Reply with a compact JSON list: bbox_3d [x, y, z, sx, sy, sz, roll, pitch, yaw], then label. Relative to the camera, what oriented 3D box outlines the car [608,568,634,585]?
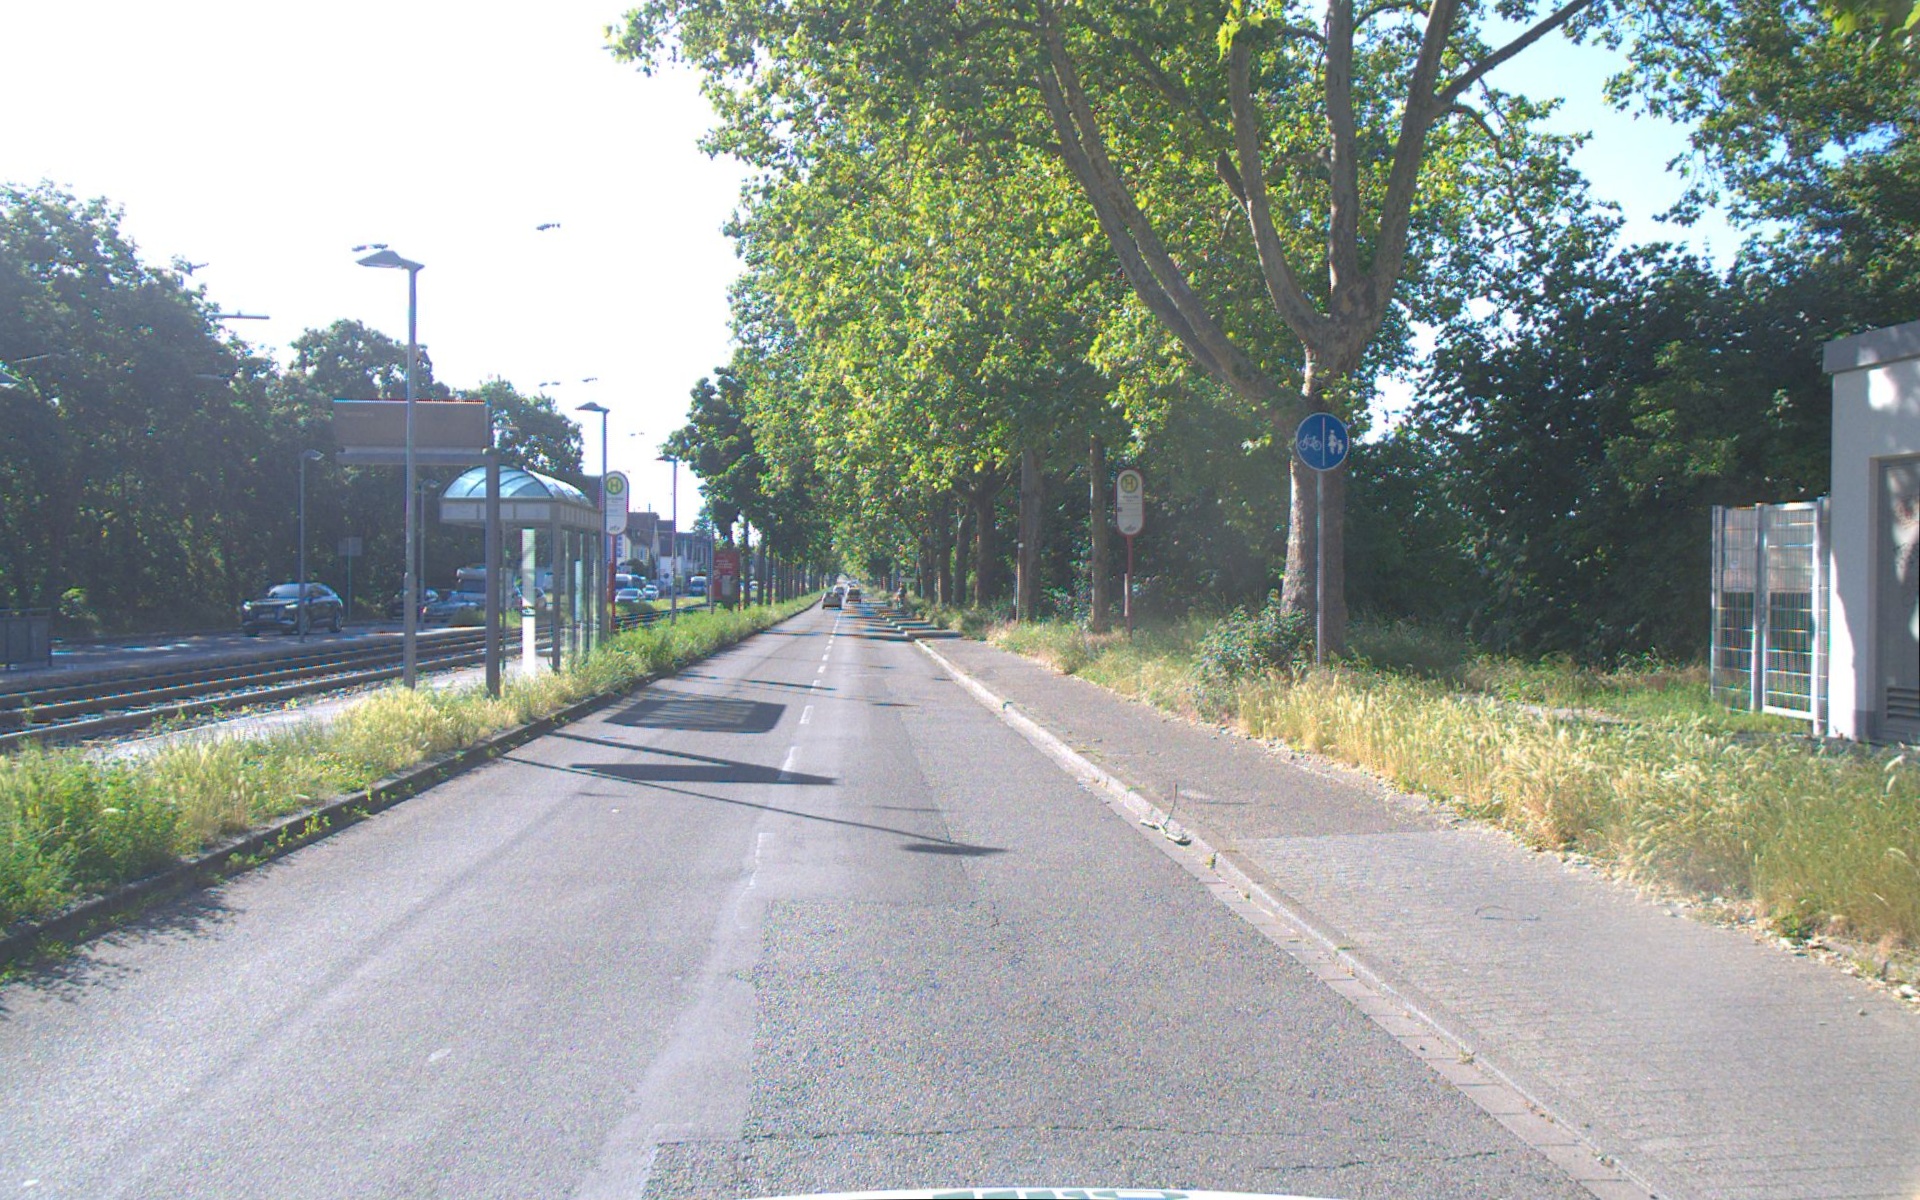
[{"bbox_3d":[-30.425,-2.105,148.658,1.709,1.522,3.590,0,0,-3],"label":"car"}]

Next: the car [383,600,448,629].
[{"bbox_3d":[-25.702,0.677,78.225,1.882,1.288,3.998,0,0,-2],"label":"car"}]

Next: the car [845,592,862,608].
[{"bbox_3d":[-11.273,0.004,175.621,1.716,1.632,3.747,1,0,-4],"label":"car"}]

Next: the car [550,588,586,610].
[{"bbox_3d":[-29.193,-0.103,123.399,1.882,1.604,3.998,0,0,-3],"label":"car"}]

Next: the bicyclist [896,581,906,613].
[{"bbox_3d":[-3.324,-0.158,93.218,0.524,1.800,0.712,0,0,-6],"label":"bicyclist"}]

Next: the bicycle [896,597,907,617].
[{"bbox_3d":[-3.314,0.375,93.110,0.526,1.085,1.432,0,0,-6],"label":"bicycle"}]

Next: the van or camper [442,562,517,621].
[{"bbox_3d":[-26.361,-0.469,91.019,2.538,3.160,6.783,0,0,-4],"label":"van or camper"}]

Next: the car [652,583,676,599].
[{"bbox_3d":[-32.590,-1.010,182.085,1.953,1.672,3.999,0,0,-1],"label":"car"}]

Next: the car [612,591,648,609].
[{"bbox_3d":[-23.626,-0.025,118.523,1.882,1.288,3.998,0,0,-3],"label":"car"}]

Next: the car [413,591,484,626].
[{"bbox_3d":[-22.544,0.364,73.032,1.954,1.495,4.374,0,0,-3],"label":"car"}]

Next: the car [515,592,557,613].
[{"bbox_3d":[-26.938,0.157,105.196,1.883,1.288,3.997,0,0,-4],"label":"car"}]

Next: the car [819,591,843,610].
[{"bbox_3d":[-10.464,0.020,134.133,1.830,1.512,3.553,1,0,-4],"label":"car"}]

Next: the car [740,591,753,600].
[{"bbox_3d":[-32.737,-0.706,253.596,1.883,1.288,3.996,0,0,-4],"label":"car"}]

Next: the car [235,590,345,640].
[{"bbox_3d":[-20.905,0.445,51.792,1.955,1.495,4.371,0,0,-5],"label":"car"}]

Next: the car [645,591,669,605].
[{"bbox_3d":[-30.870,-0.190,168.835,1.882,1.463,3.998,0,0,-3],"label":"car"}]
